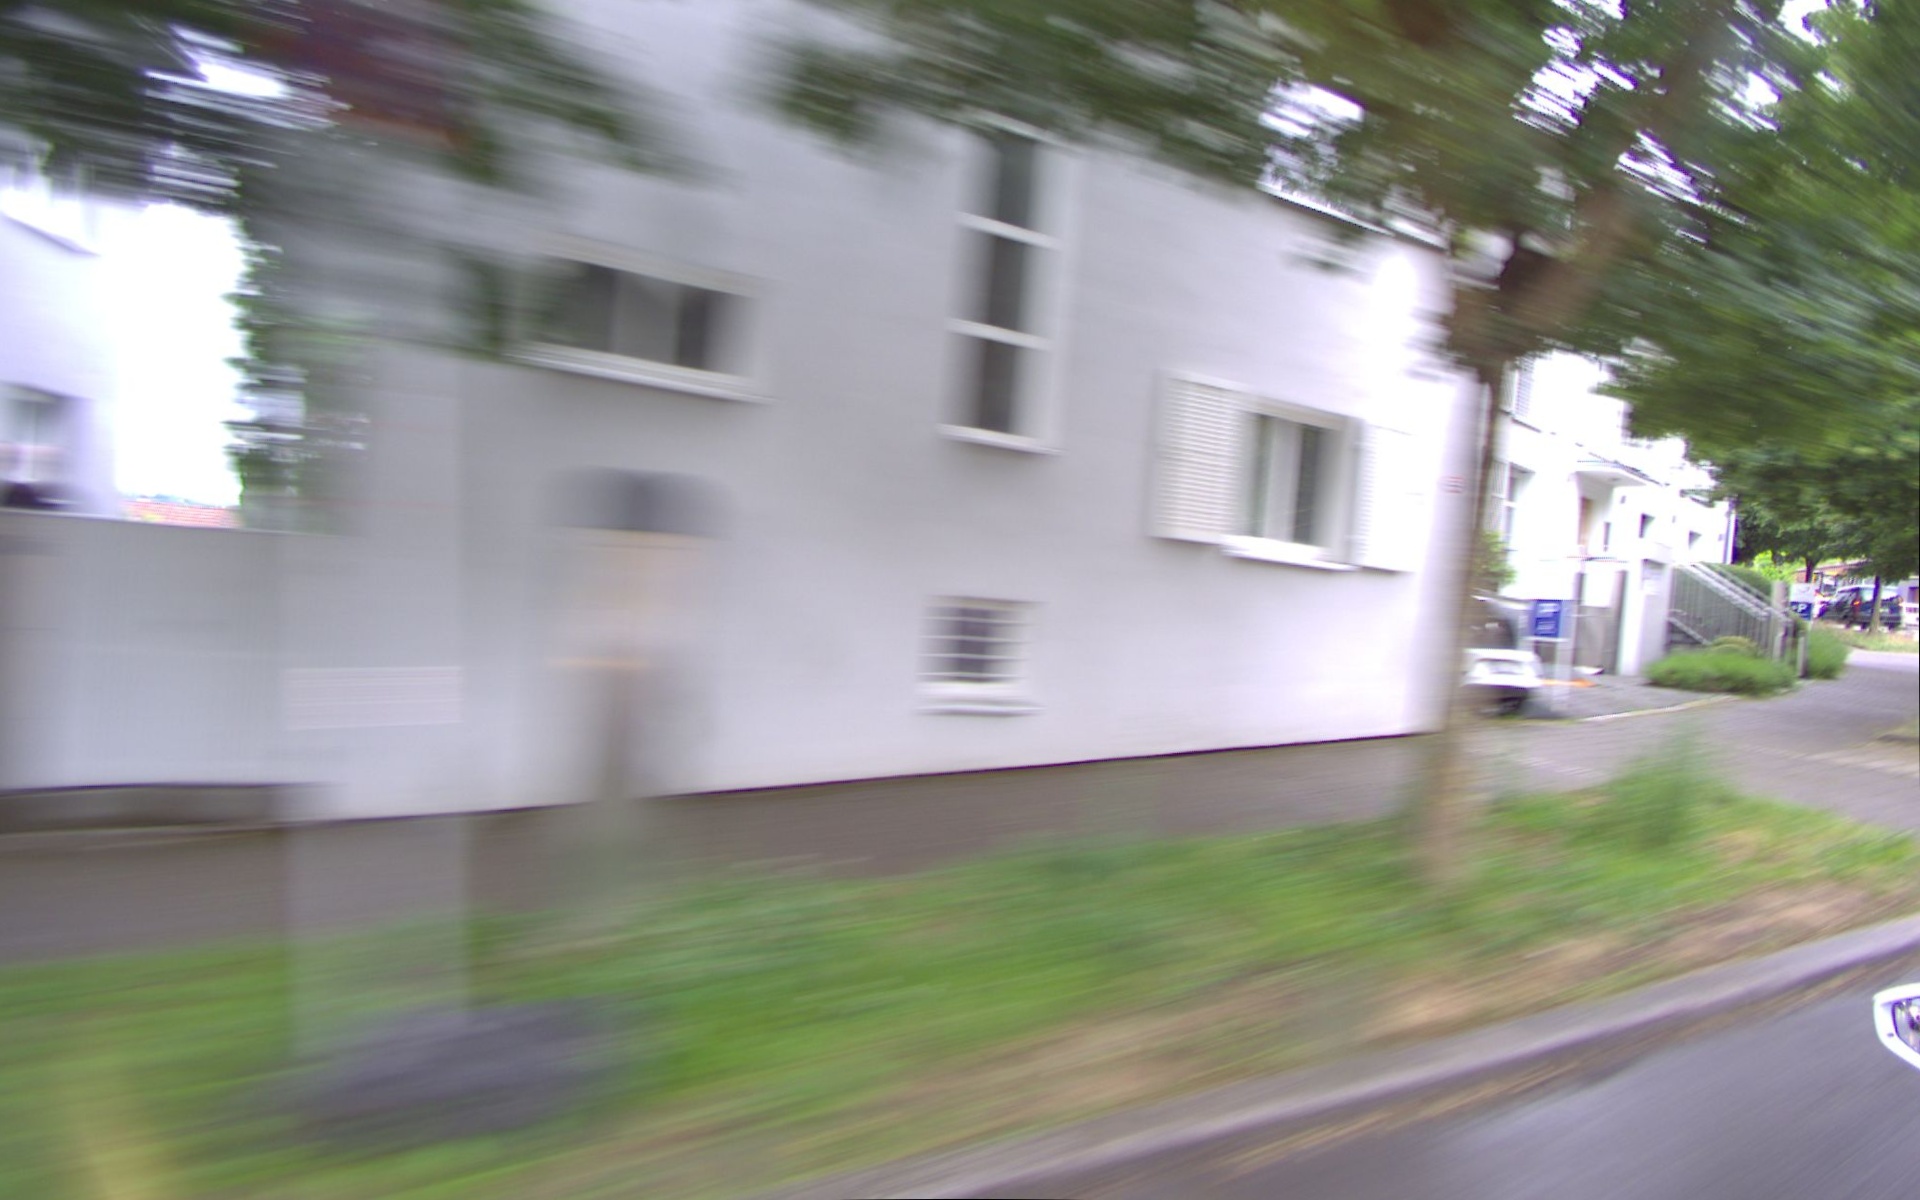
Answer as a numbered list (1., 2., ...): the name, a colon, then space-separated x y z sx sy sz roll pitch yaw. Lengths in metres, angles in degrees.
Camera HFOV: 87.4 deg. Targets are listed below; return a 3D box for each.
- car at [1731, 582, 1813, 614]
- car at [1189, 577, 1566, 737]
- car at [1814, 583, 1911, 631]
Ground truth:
1. car: 41.192 -0.088 51.061 1.691 1.505 4.078 1 -1 15
2. car: 4.785 0.562 12.097 1.729 1.582 3.969 1 0 -29
3. car: 36.517 0.303 40.753 1.963 1.817 3.995 1 -1 28
